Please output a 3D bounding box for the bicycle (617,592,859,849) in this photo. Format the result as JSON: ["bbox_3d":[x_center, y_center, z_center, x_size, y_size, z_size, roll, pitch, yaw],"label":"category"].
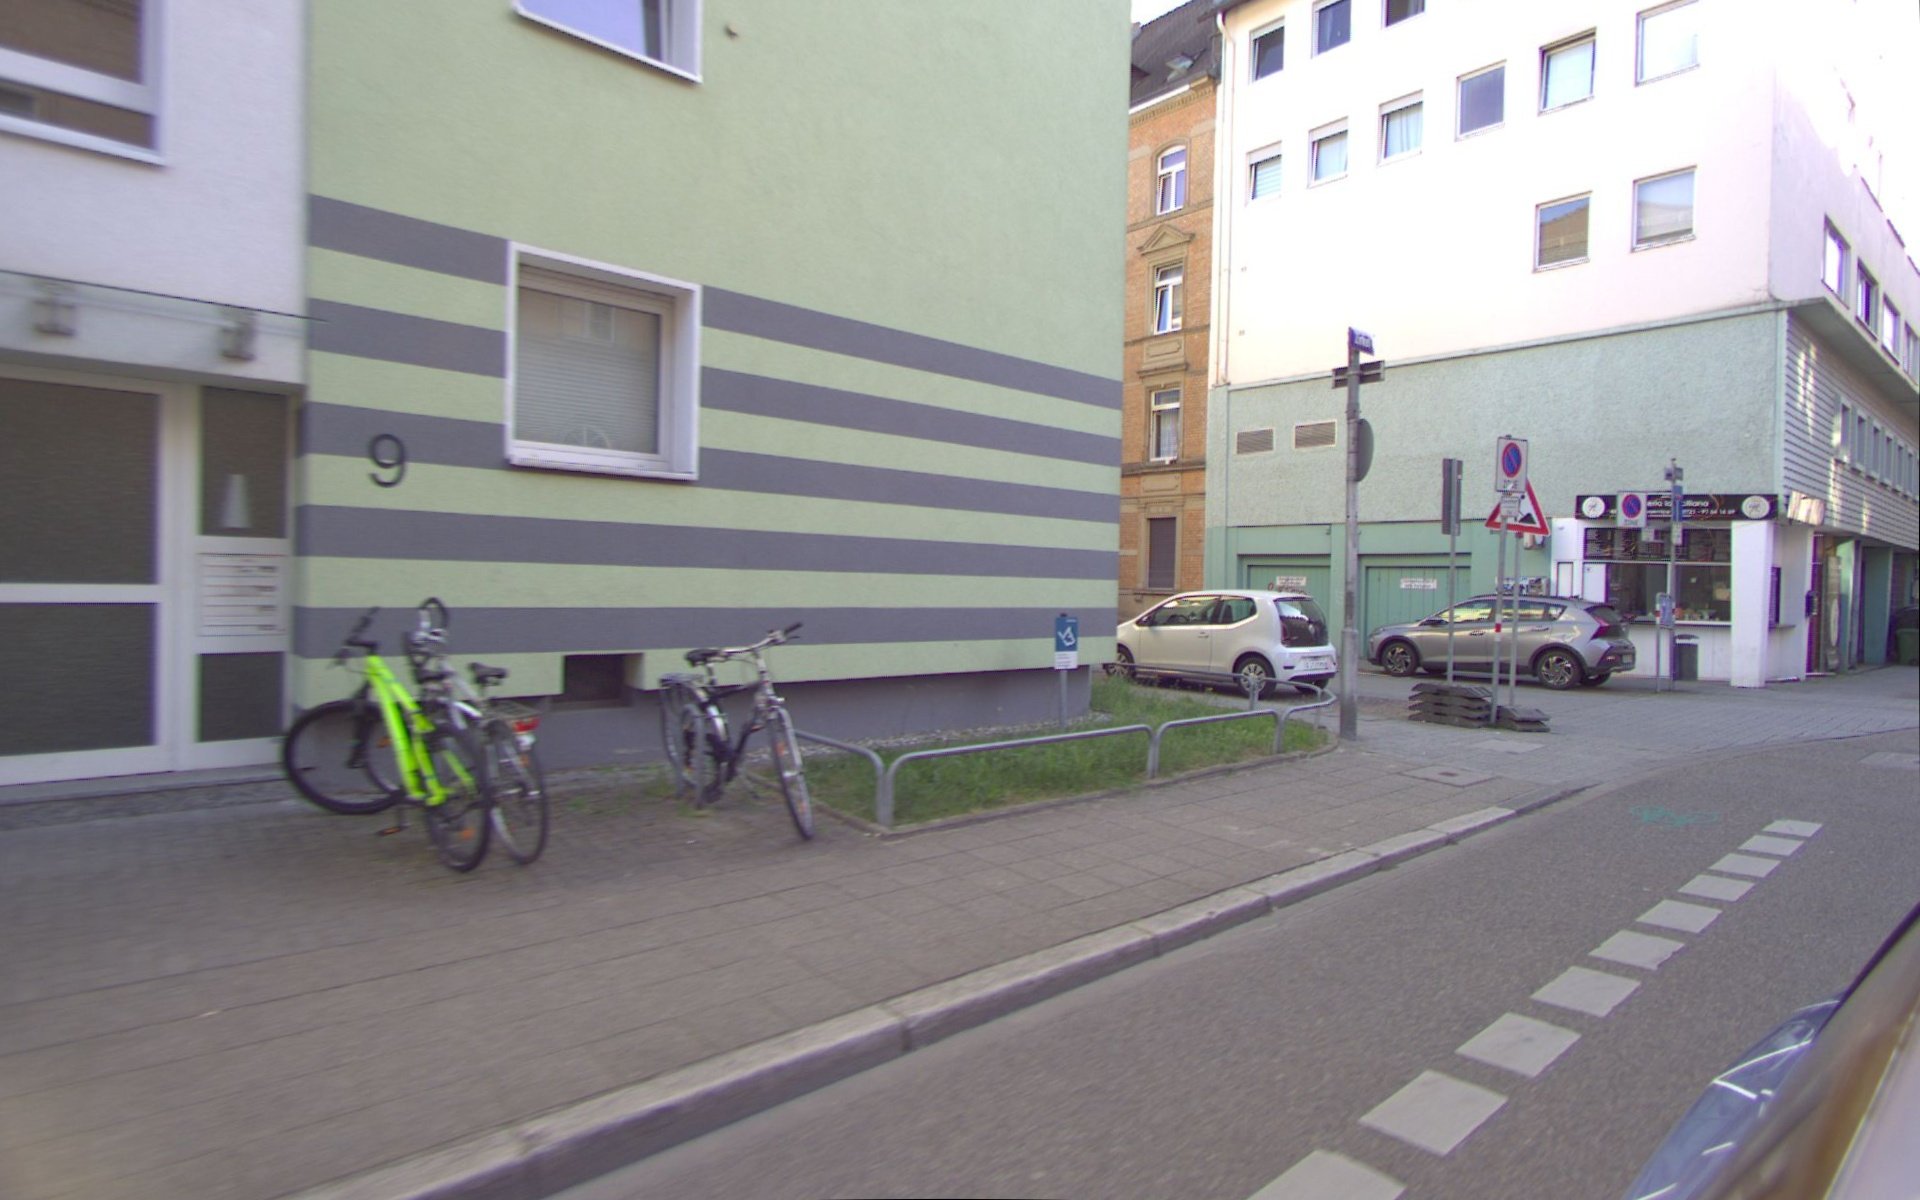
[{"bbox_3d":[-1.344,0.599,5.861,0.542,1.155,1.752,1,4,-41],"label":"bicycle"}]

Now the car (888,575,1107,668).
[{"bbox_3d":[0.579,0.313,18.777,1.679,1.500,4.219,0,1,-40],"label":"car"}]

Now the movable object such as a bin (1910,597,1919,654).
[{"bbox_3d":[25.467,0.673,26.265,1.297,1.401,0.983,-3,4,-39],"label":"movable object such as a bin"}]

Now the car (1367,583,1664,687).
[{"bbox_3d":[9.368,0.501,17.313,1.833,1.500,4.085,0,2,-41],"label":"car"}]

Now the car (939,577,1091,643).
[{"bbox_3d":[1.348,0.187,26.271,1.643,1.500,4.180,-2,3,-37],"label":"car"}]

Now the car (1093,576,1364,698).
[{"bbox_3d":[3.861,0.441,14.976,1.679,1.500,3.553,0,2,-40],"label":"car"}]

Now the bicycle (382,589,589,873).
[{"bbox_3d":[-2.469,0.583,5.163,1.640,1.155,0.279,6,3,41],"label":"bicycle"}]

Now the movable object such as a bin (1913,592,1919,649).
[{"bbox_3d":[26.629,0.559,27.382,1.524,1.497,0.983,-3,4,-39],"label":"movable object such as a bin"}]

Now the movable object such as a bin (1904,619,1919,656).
[{"bbox_3d":[24.580,0.963,25.877,0.514,0.910,0.558,-2,4,-39],"label":"movable object such as a bin"}]

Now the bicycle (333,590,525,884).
[{"bbox_3d":[-2.644,0.586,4.954,1.601,1.155,0.234,6,3,41],"label":"bicycle"}]
